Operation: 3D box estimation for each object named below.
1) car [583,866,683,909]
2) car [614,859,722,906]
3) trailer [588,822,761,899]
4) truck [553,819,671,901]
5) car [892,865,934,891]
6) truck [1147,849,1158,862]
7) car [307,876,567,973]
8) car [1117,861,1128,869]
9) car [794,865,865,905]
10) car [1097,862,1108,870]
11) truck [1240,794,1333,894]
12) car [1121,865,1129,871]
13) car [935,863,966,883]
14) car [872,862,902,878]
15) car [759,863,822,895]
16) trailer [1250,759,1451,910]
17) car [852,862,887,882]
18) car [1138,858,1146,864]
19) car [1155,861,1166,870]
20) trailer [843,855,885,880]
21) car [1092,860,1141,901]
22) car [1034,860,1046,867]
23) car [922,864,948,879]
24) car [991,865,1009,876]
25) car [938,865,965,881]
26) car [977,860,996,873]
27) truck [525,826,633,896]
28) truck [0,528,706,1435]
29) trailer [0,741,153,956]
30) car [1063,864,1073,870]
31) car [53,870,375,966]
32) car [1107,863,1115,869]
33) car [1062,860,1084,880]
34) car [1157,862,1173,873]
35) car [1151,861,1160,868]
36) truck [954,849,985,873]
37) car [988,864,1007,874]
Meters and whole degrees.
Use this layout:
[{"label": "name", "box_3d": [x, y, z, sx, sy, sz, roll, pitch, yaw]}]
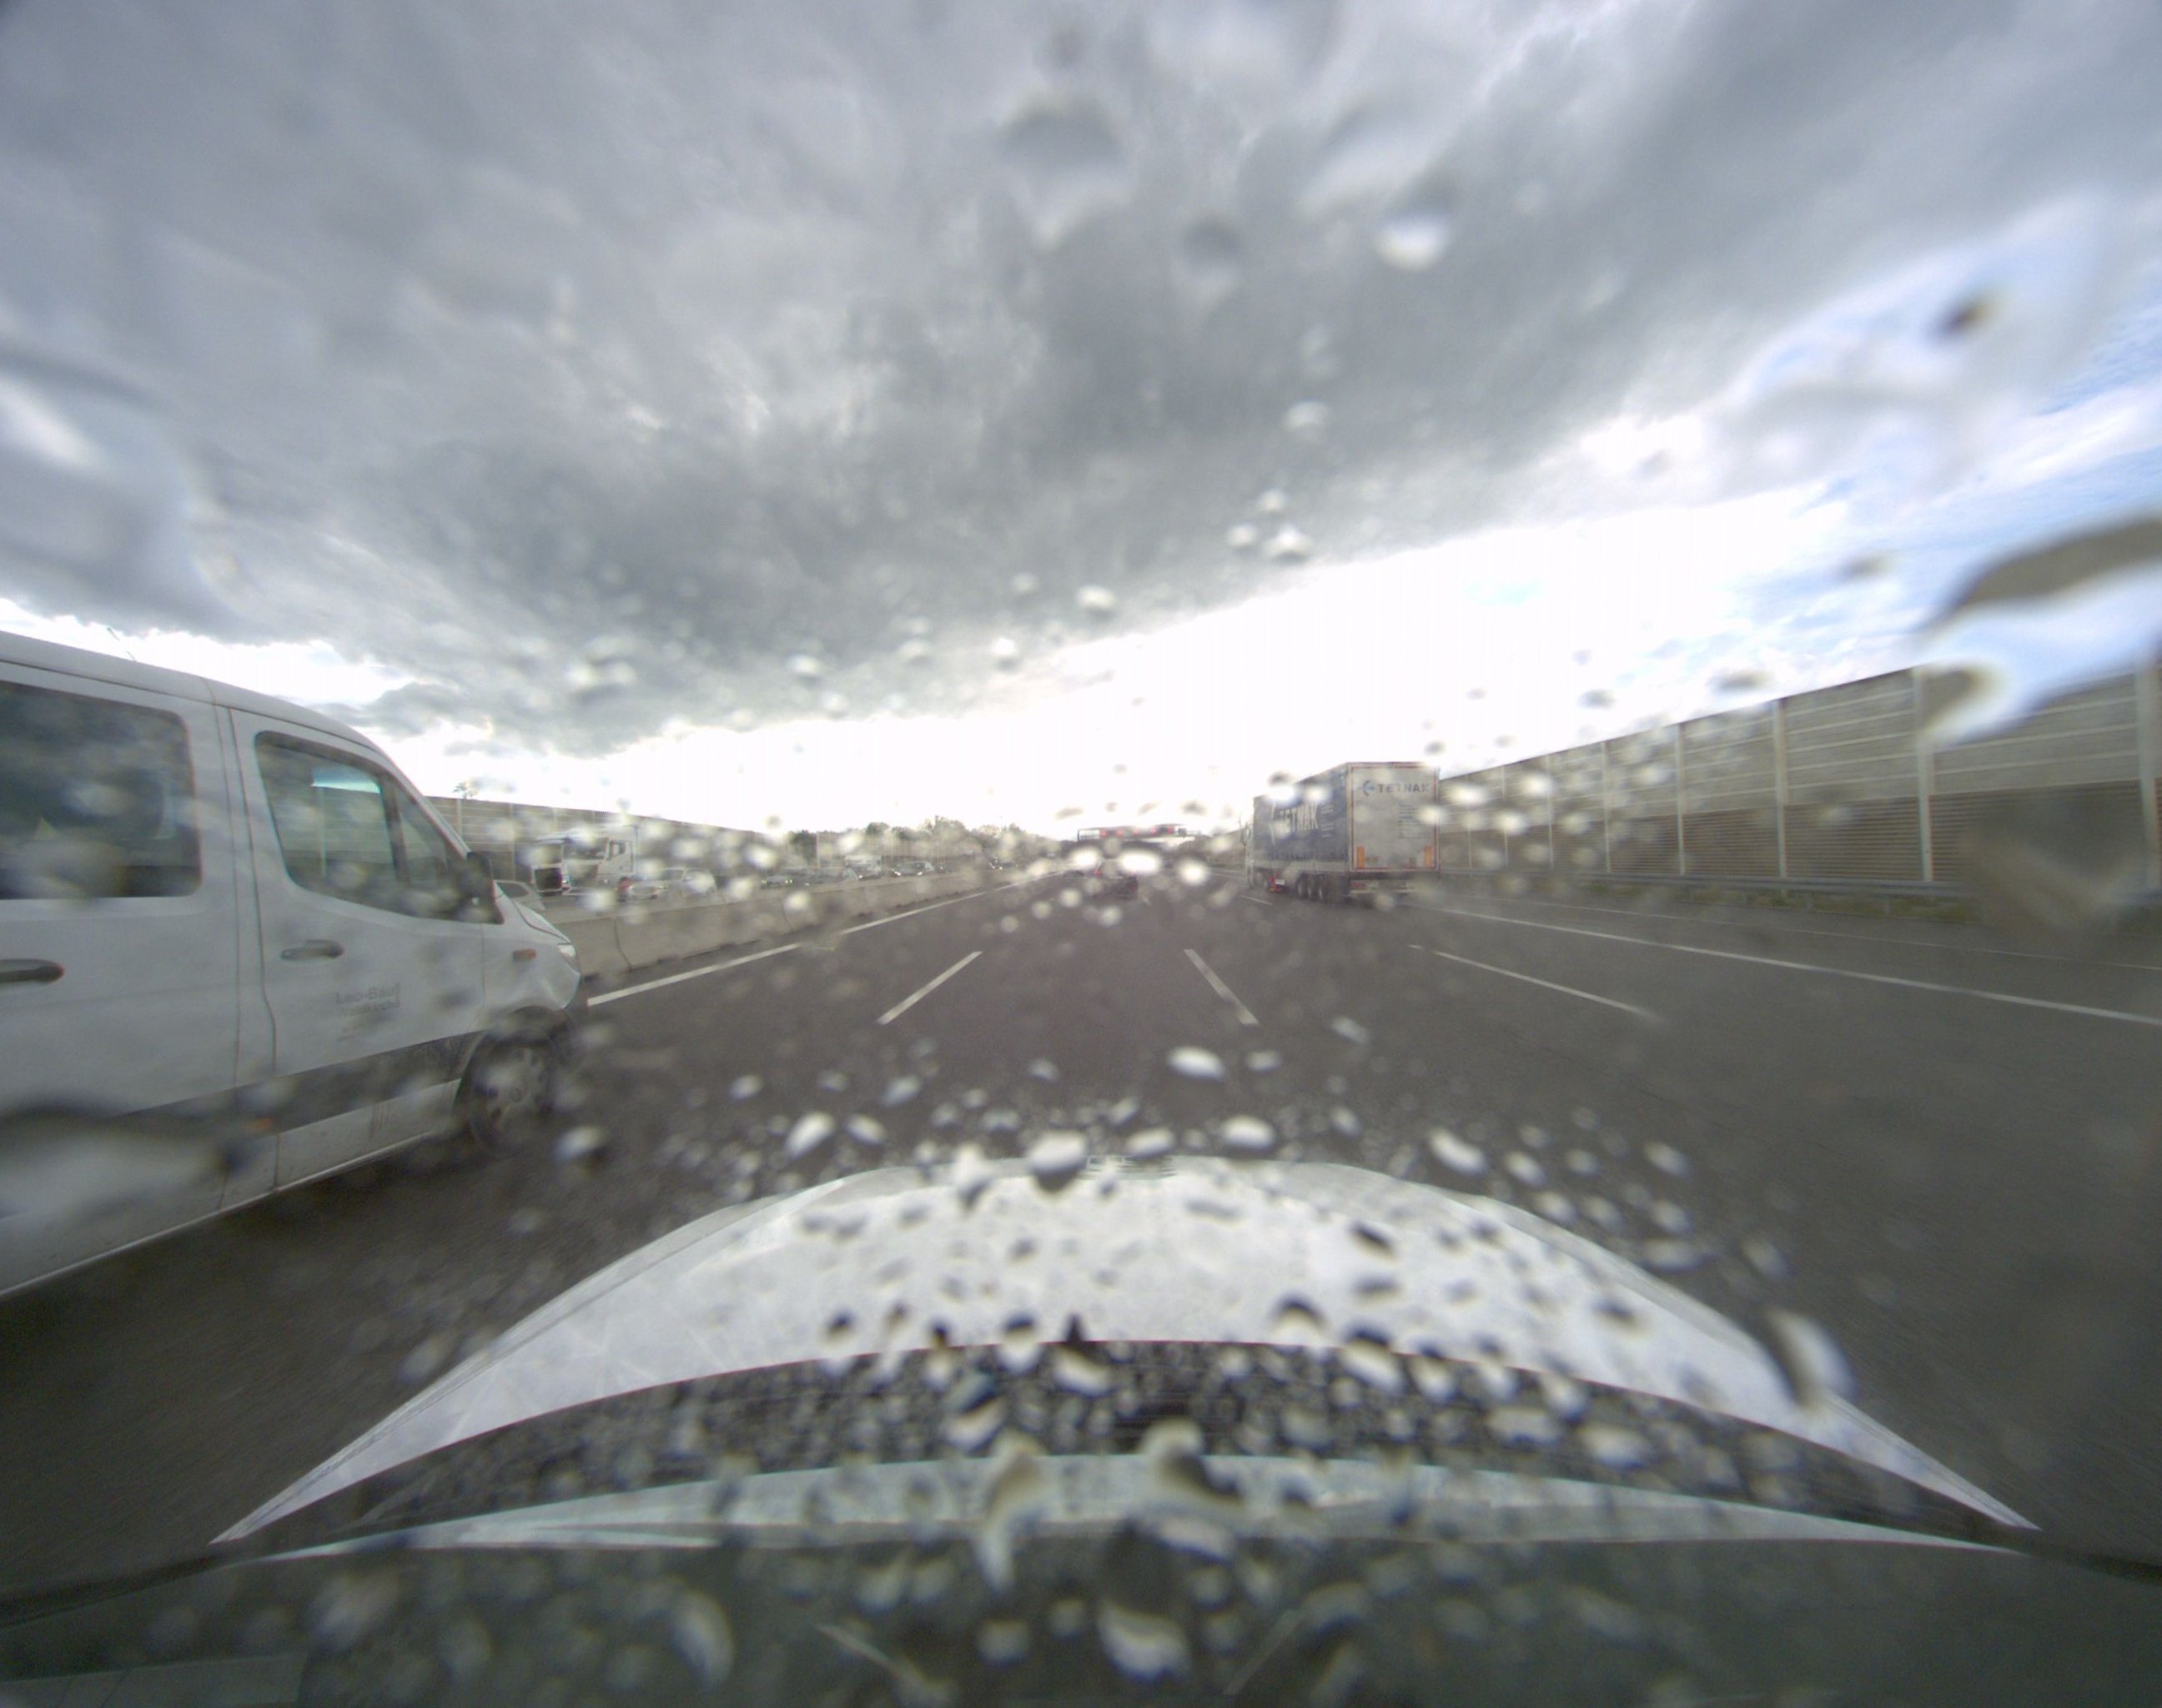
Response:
[{"label": "car", "box_3d": [-21.159, 1.533, 38.755, 2.054, 1.816, 4.779, -1, 0, 1]}, {"label": "car", "box_3d": [-17.247, 1.135, 34.331, 2.054, 1.816, 4.779, -1, 0, 1]}, {"label": "trailer", "box_3d": [-24.334, 0.393, 50.263, 2.750, 4.032, 14.462, -1, -1, 3]}, {"label": "truck", "box_3d": [-24.716, 0.346, 43.301, 2.734, 4.035, 5.729, -1, -1, 2]}, {"label": "car", "box_3d": [-12.014, 1.673, 58.621, 1.948, 1.699, 4.893, -1, 0, 1]}, {"label": "truck", "box_3d": [21.436, 0.459, 243.856, 3.138, 3.602, 12.715, 0, -1, 5]}, {"label": "car", "box_3d": [-13.568, 1.399, 17.606, 2.054, 1.699, 4.411, -1, 0, 1]}, {"label": "car", "box_3d": [7.851, 2.081, 153.572, 1.959, 1.561, 4.438, -2, -2, 5]}, {"label": "car", "box_3d": [-12.761, 1.525, 41.670, 2.054, 1.816, 4.779, -1, 0, 1]}, {"label": "car", "box_3d": [4.243, 2.381, 160.806, 1.959, 1.561, 4.438, -2, -2, 5]}, {"label": "truck", "box_3d": [8.952, -0.390, 36.096, 2.735, 4.035, 5.727, -1, -1, 1]}, {"label": "car", "box_3d": [11.897, 3.730, 220.854, 1.959, 1.561, 4.436, -2, -2, 3]}, {"label": "car", "box_3d": [-11.732, 1.645, 73.379, 1.948, 1.699, 4.411, -1, 0, 1]}, {"label": "car", "box_3d": [-22.335, 1.794, 94.101, 2.053, 1.699, 5.090, -1, 0, 2]}, {"label": "car", "box_3d": [-16.598, 1.392, 46.756, 1.948, 1.699, 4.411, -1, 0, 1]}, {"label": "trailer", "box_3d": [8.762, -0.462, 29.171, 2.751, 4.032, 14.456, -1, -1, 2]}, {"label": "car", "box_3d": [-19.074, 1.603, 73.668, 1.948, 1.699, 4.411, -1, 0, 1]}, {"label": "car", "box_3d": [16.553, 1.934, 220.893, 1.958, 1.561, 4.439, -2, -2, 5]}, {"label": "car", "box_3d": [14.201, 2.031, 145.635, 1.874, 1.542, 4.437, -2, -2, 4]}, {"label": "trailer", "box_3d": [-22.630, 1.377, 85.166, 2.449, 2.495, 6.089, -1, 0, 3]}, {"label": "car", "box_3d": [1.289, 0.964, 30.972, 1.711, 1.417, 4.278, -1, 0, 1]}, {"label": "car", "box_3d": [-8.623, 2.033, 171.708, 2.050, 1.491, 5.003, -1, -1, 5]}, {"label": "car", "box_3d": [-17.706, 2.086, 98.885, 2.054, 1.699, 5.089, -1, 0, 1]}, {"label": "car", "box_3d": [-12.622, 2.587, 127.139, 2.052, 1.600, 5.000, -1, -1, 3]}, {"label": "car", "box_3d": [-14.366, 2.056, 90.433, 2.054, 1.699, 5.089, -1, 0, 1]}, {"label": "car", "box_3d": [-13.129, 1.773, 113.725, 1.866, 1.699, 5.017, -1, 0, 2]}, {"label": "truck", "box_3d": [-30.776, 0.427, 50.237, 2.905, 4.035, 5.729, -1, -1, 2]}, {"label": "truck", "box_3d": [-4.052, 0.353, 2.507, 2.298, 2.440, 7.150, -1, 0, 2]}, {"label": "trailer", "box_3d": [-21.746, -0.133, 10.482, 2.751, 4.032, 14.456, -1, -1, 2]}, {"label": "car", "box_3d": [-3.173, 3.249, 203.020, 2.050, 1.491, 5.003, -1, -1, 5]}, {"label": "car", "box_3d": [-17.998, 1.229, 17.309, 2.054, 1.699, 4.411, -1, 0, 1]}, {"label": "car", "box_3d": [8.127, 3.200, 220.256, 1.959, 1.561, 4.438, -2, -2, 5]}, {"label": "car", "box_3d": [-0.698, 1.408, 72.698, 1.711, 1.624, 4.279, -1, 0, 1]}, {"label": "car", "box_3d": [11.460, 1.812, 111.169, 1.942, 1.418, 4.234, -1, -1, 2]}, {"label": "car", "box_3d": [17.661, 2.525, 193.142, 1.874, 1.561, 4.438, -2, -2, 5]}, {"label": "truck", "box_3d": [-16.574, 1.053, 122.016, 2.684, 3.527, 10.005, 0, -1, 4]}, {"label": "car", "box_3d": [-13.022, 2.316, 127.241, 2.050, 1.491, 5.003, -1, -1, 5]}]
